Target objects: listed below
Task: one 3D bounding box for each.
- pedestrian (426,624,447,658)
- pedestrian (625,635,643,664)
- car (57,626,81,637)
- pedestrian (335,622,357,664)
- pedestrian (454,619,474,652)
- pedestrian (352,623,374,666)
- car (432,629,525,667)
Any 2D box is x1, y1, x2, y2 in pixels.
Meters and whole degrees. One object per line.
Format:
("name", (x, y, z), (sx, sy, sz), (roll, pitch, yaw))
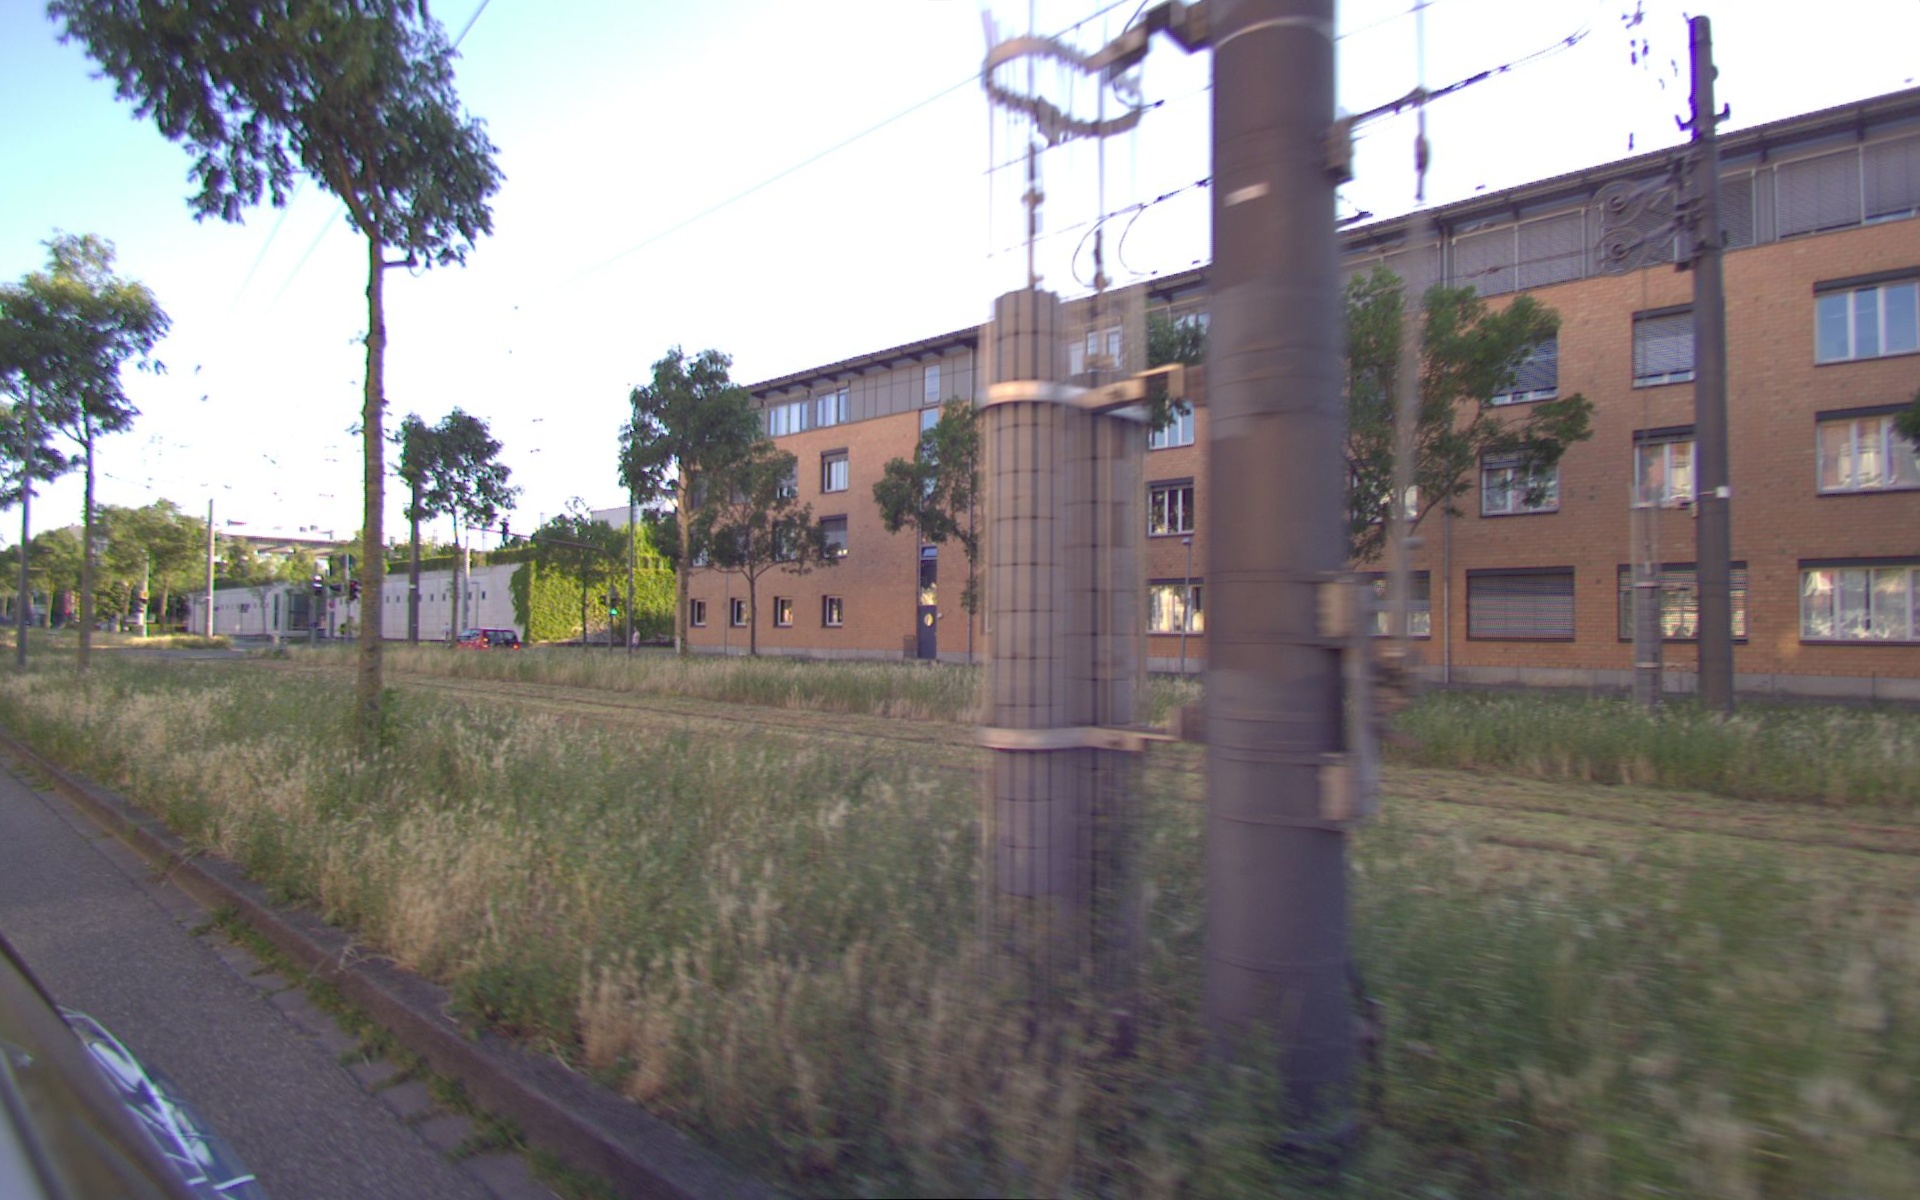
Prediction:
("pedestrian", (-31.491, 2.476, 60.916), (0.863, 2.029, 0.724), (-1, -2, 27))
("pedestrian", (-15.589, 2.346, 48.330), (0.574, 1.378, 0.580), (-1, -2, 35))
("car", (-109.660, 3.908, 124.557), (3.998, 1.386, 1.771), (-1, -3, 41))
("pedestrian", (-24.846, 1.746, 40.953), (0.544, 1.697, 0.512), (0, -2, 11))
("pedestrian", (-30.253, 2.153, 61.735), (0.863, 2.029, 0.724), (-1, -2, 25))
("pedestrian", (-23.929, 1.789, 40.555), (0.544, 1.697, 0.512), (0, -2, 11))
("car", (-18.426, 1.813, 38.705), (3.998, 1.386, 1.771), (-1, -3, 41))
